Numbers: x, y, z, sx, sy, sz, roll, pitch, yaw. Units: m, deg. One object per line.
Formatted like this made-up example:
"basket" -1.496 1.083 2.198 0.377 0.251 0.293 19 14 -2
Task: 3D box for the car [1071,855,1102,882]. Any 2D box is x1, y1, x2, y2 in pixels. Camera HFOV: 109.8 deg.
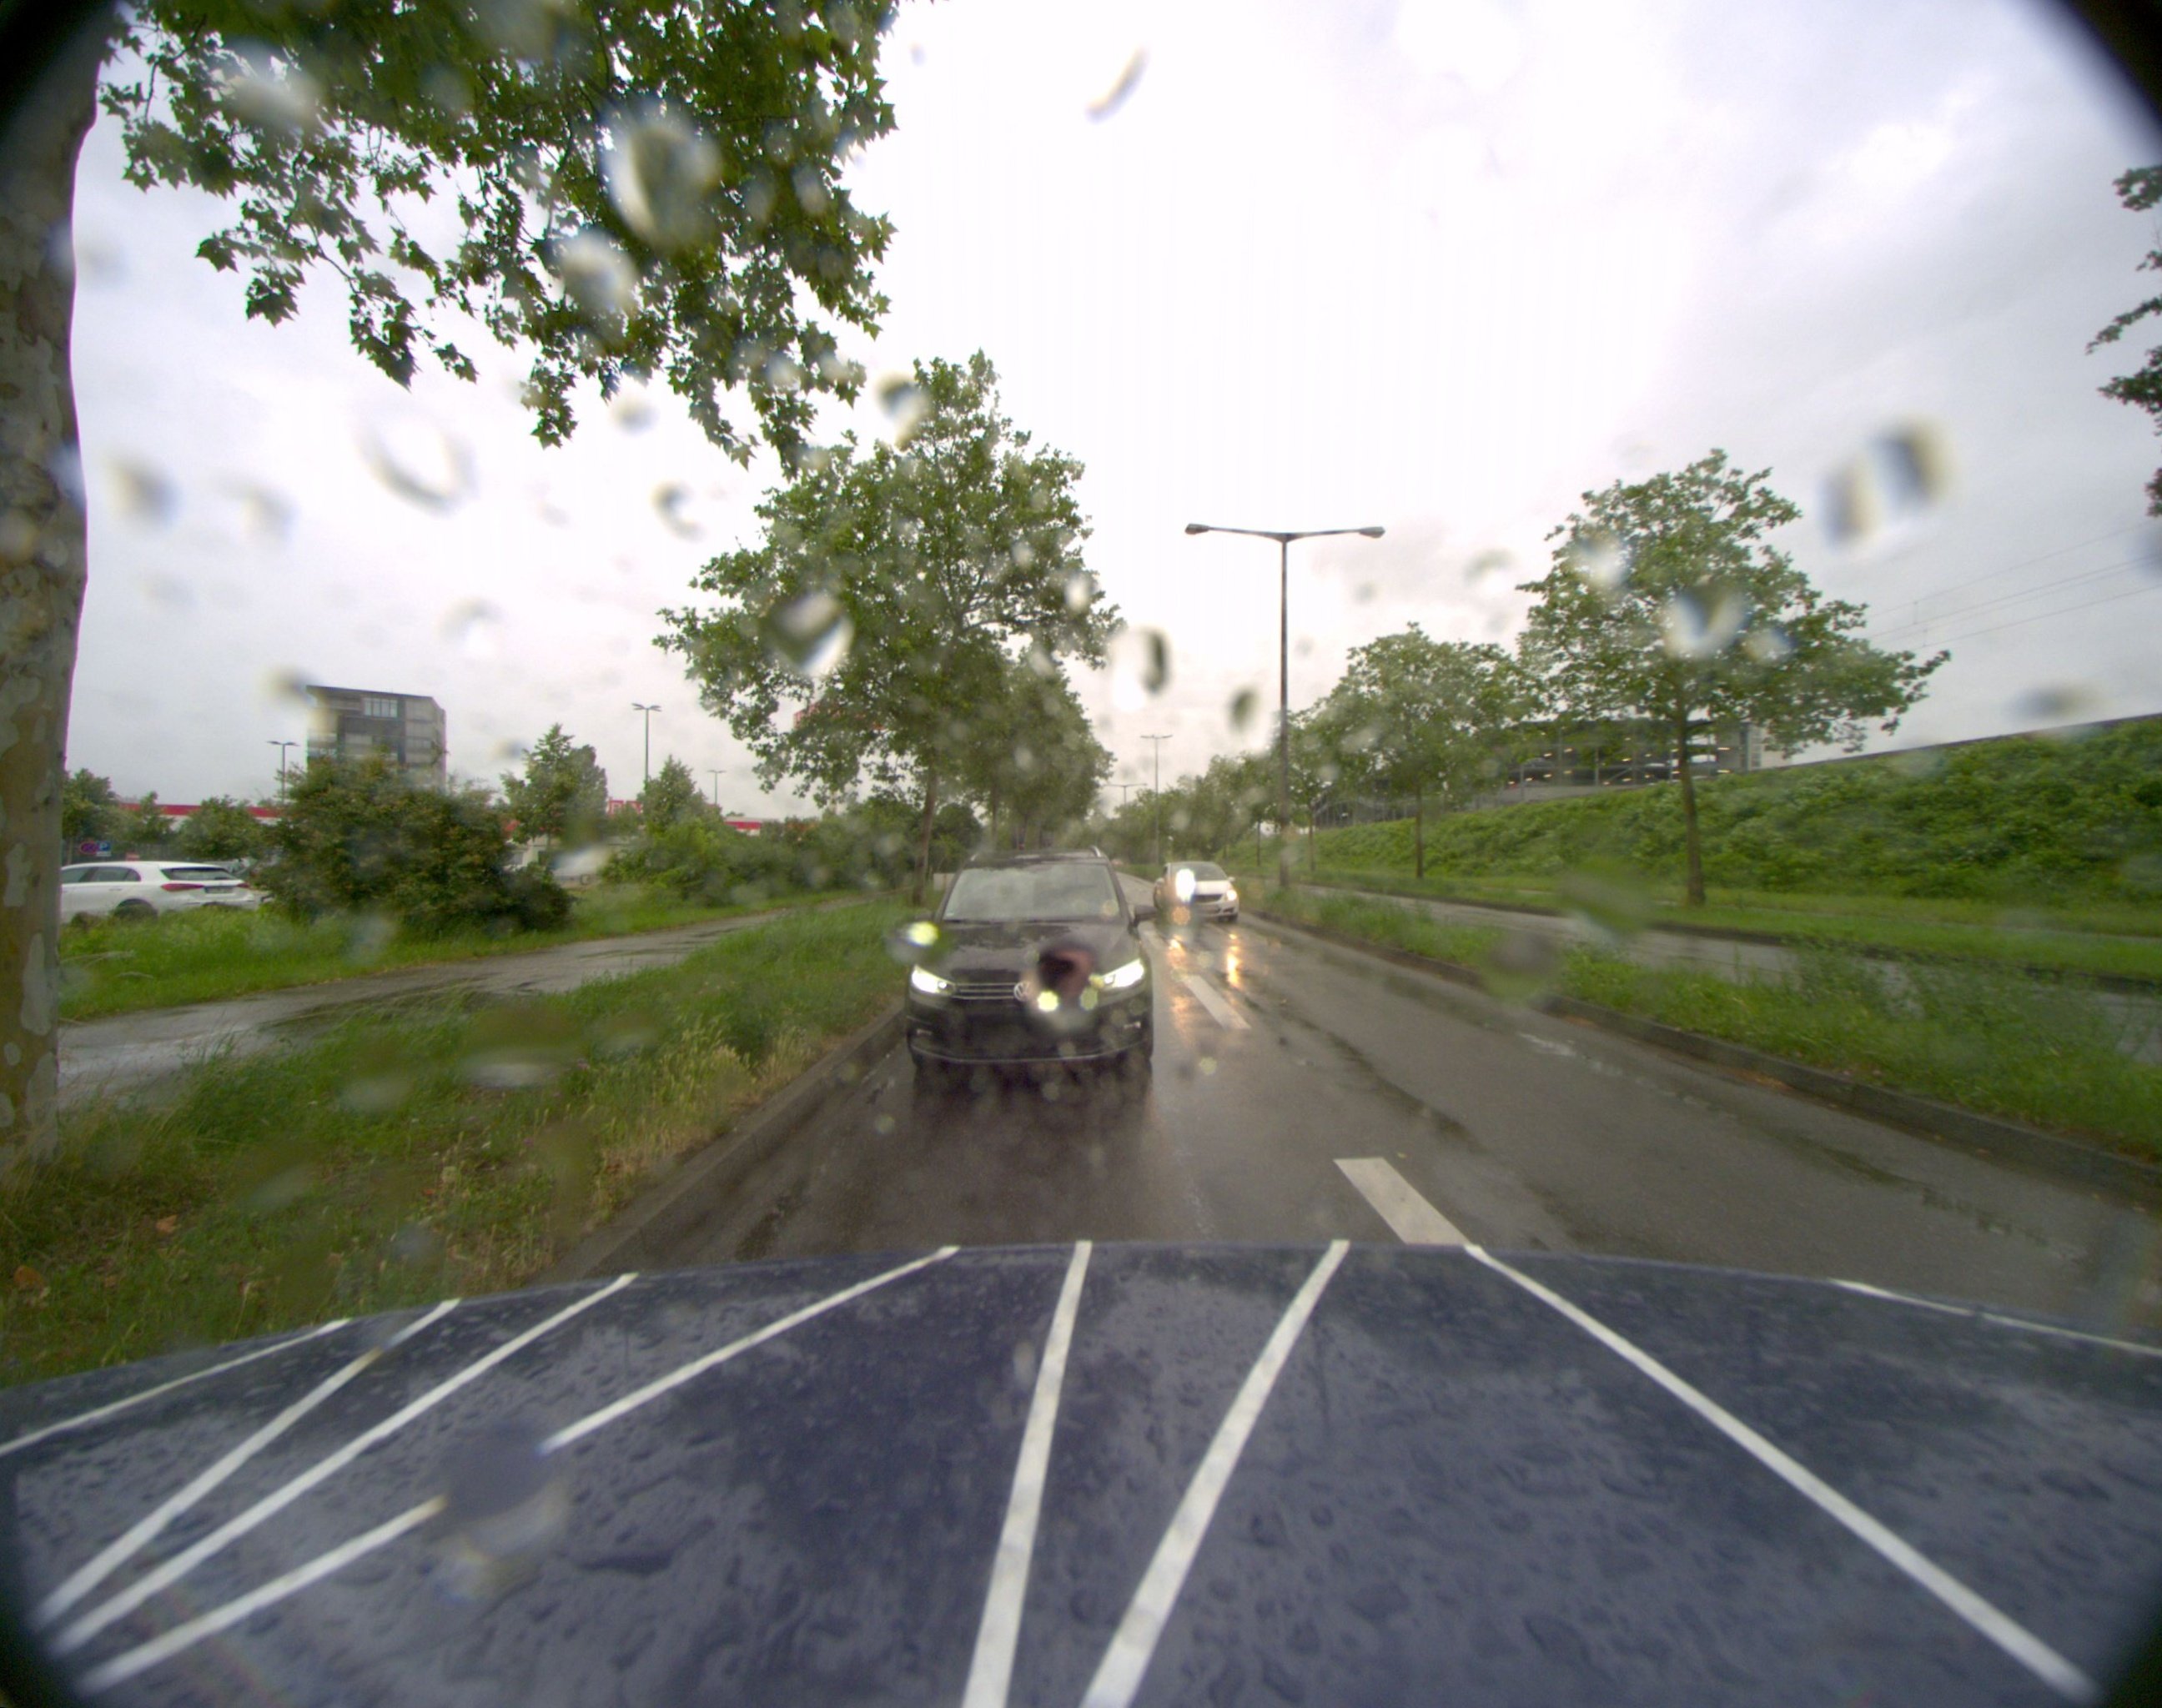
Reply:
"car" 0.339 0.832 45.577 1.724 1.456 4.092 -2 0 1

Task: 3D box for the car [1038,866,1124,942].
"car" -0.004 1.063 17.687 1.724 1.456 4.092 -2 0 0

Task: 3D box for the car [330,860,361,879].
"car" -69.116 1.459 71.415 2.007 1.667 4.261 0 1 -44

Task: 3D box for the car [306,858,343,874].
"car" -78.460 1.223 78.865 2.006 1.667 4.262 0 0 -35

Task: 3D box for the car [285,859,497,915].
"car" -19.939 0.920 22.129 4.272 1.543 1.929 0 0 -4

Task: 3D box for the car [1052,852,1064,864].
"car" -3.993 0.688 133.693 1.999 2.002 5.130 -2 1 -2

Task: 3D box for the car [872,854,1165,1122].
"car" -0.431 0.833 7.067 1.771 1.596 4.626 -2 0 -1

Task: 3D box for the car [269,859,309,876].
"car" -80.571 1.322 77.334 2.006 1.667 4.262 0 0 -35

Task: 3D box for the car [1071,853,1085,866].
"car" -0.435 0.720 104.473 1.831 1.737 4.147 -2 0 0

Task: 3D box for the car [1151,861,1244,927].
"car" 2.787 0.908 18.961 1.683 1.368 4.011 -2 0 0

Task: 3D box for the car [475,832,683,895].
"car" -19.659 0.356 30.079 6.425 2.349 2.390 0 1 -8

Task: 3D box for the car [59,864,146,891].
"car" -61.883 1.429 48.145 1.933 1.543 4.263 0 0 -30

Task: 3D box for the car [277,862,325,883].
"car" -67.275 1.590 65.603 2.006 1.667 4.262 0 0 -34

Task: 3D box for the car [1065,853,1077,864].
"car" -1.976 0.903 148.265 1.999 2.002 5.130 -2 1 -3

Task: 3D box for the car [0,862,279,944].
"car" -19.786 0.962 15.659 4.272 1.543 1.929 0 0 -4
